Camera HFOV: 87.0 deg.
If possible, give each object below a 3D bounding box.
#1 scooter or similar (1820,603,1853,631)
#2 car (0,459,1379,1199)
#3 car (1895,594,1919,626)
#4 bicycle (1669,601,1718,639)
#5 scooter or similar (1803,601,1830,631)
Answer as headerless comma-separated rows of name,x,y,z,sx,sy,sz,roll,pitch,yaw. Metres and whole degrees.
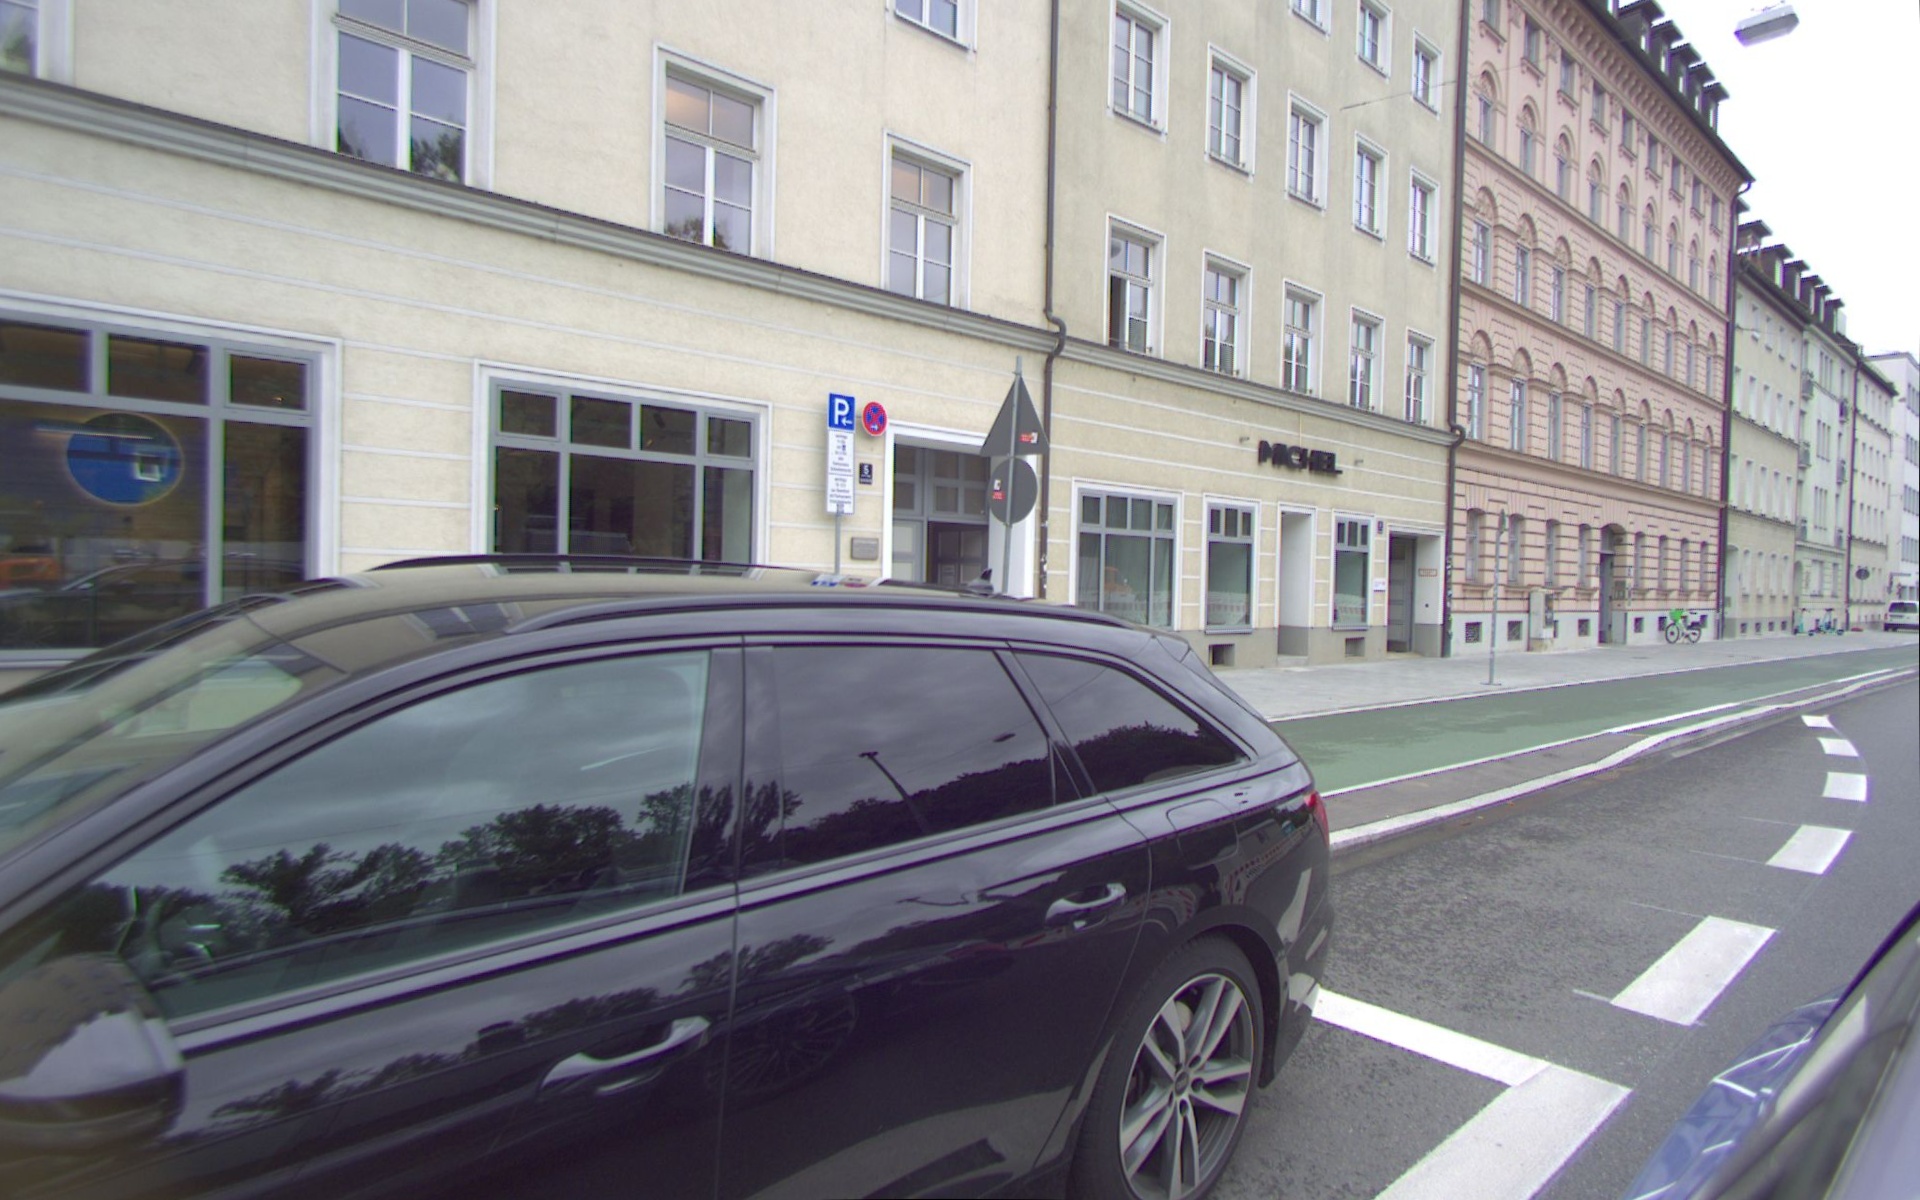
scooter or similar,41.391,0.818,47.796,1.105,1.246,0.246,3,2,18
car,-1.147,0.600,1.901,4.607,1.498,1.804,1,1,-43
car,55.598,0.616,58.454,4.356,1.771,1.737,1,2,-40
bicycle,23.953,0.663,33.029,1.695,1.188,0.428,1,1,-23
scooter or similar,37.861,0.707,44.735,1.096,1.246,0.248,2,2,-14
